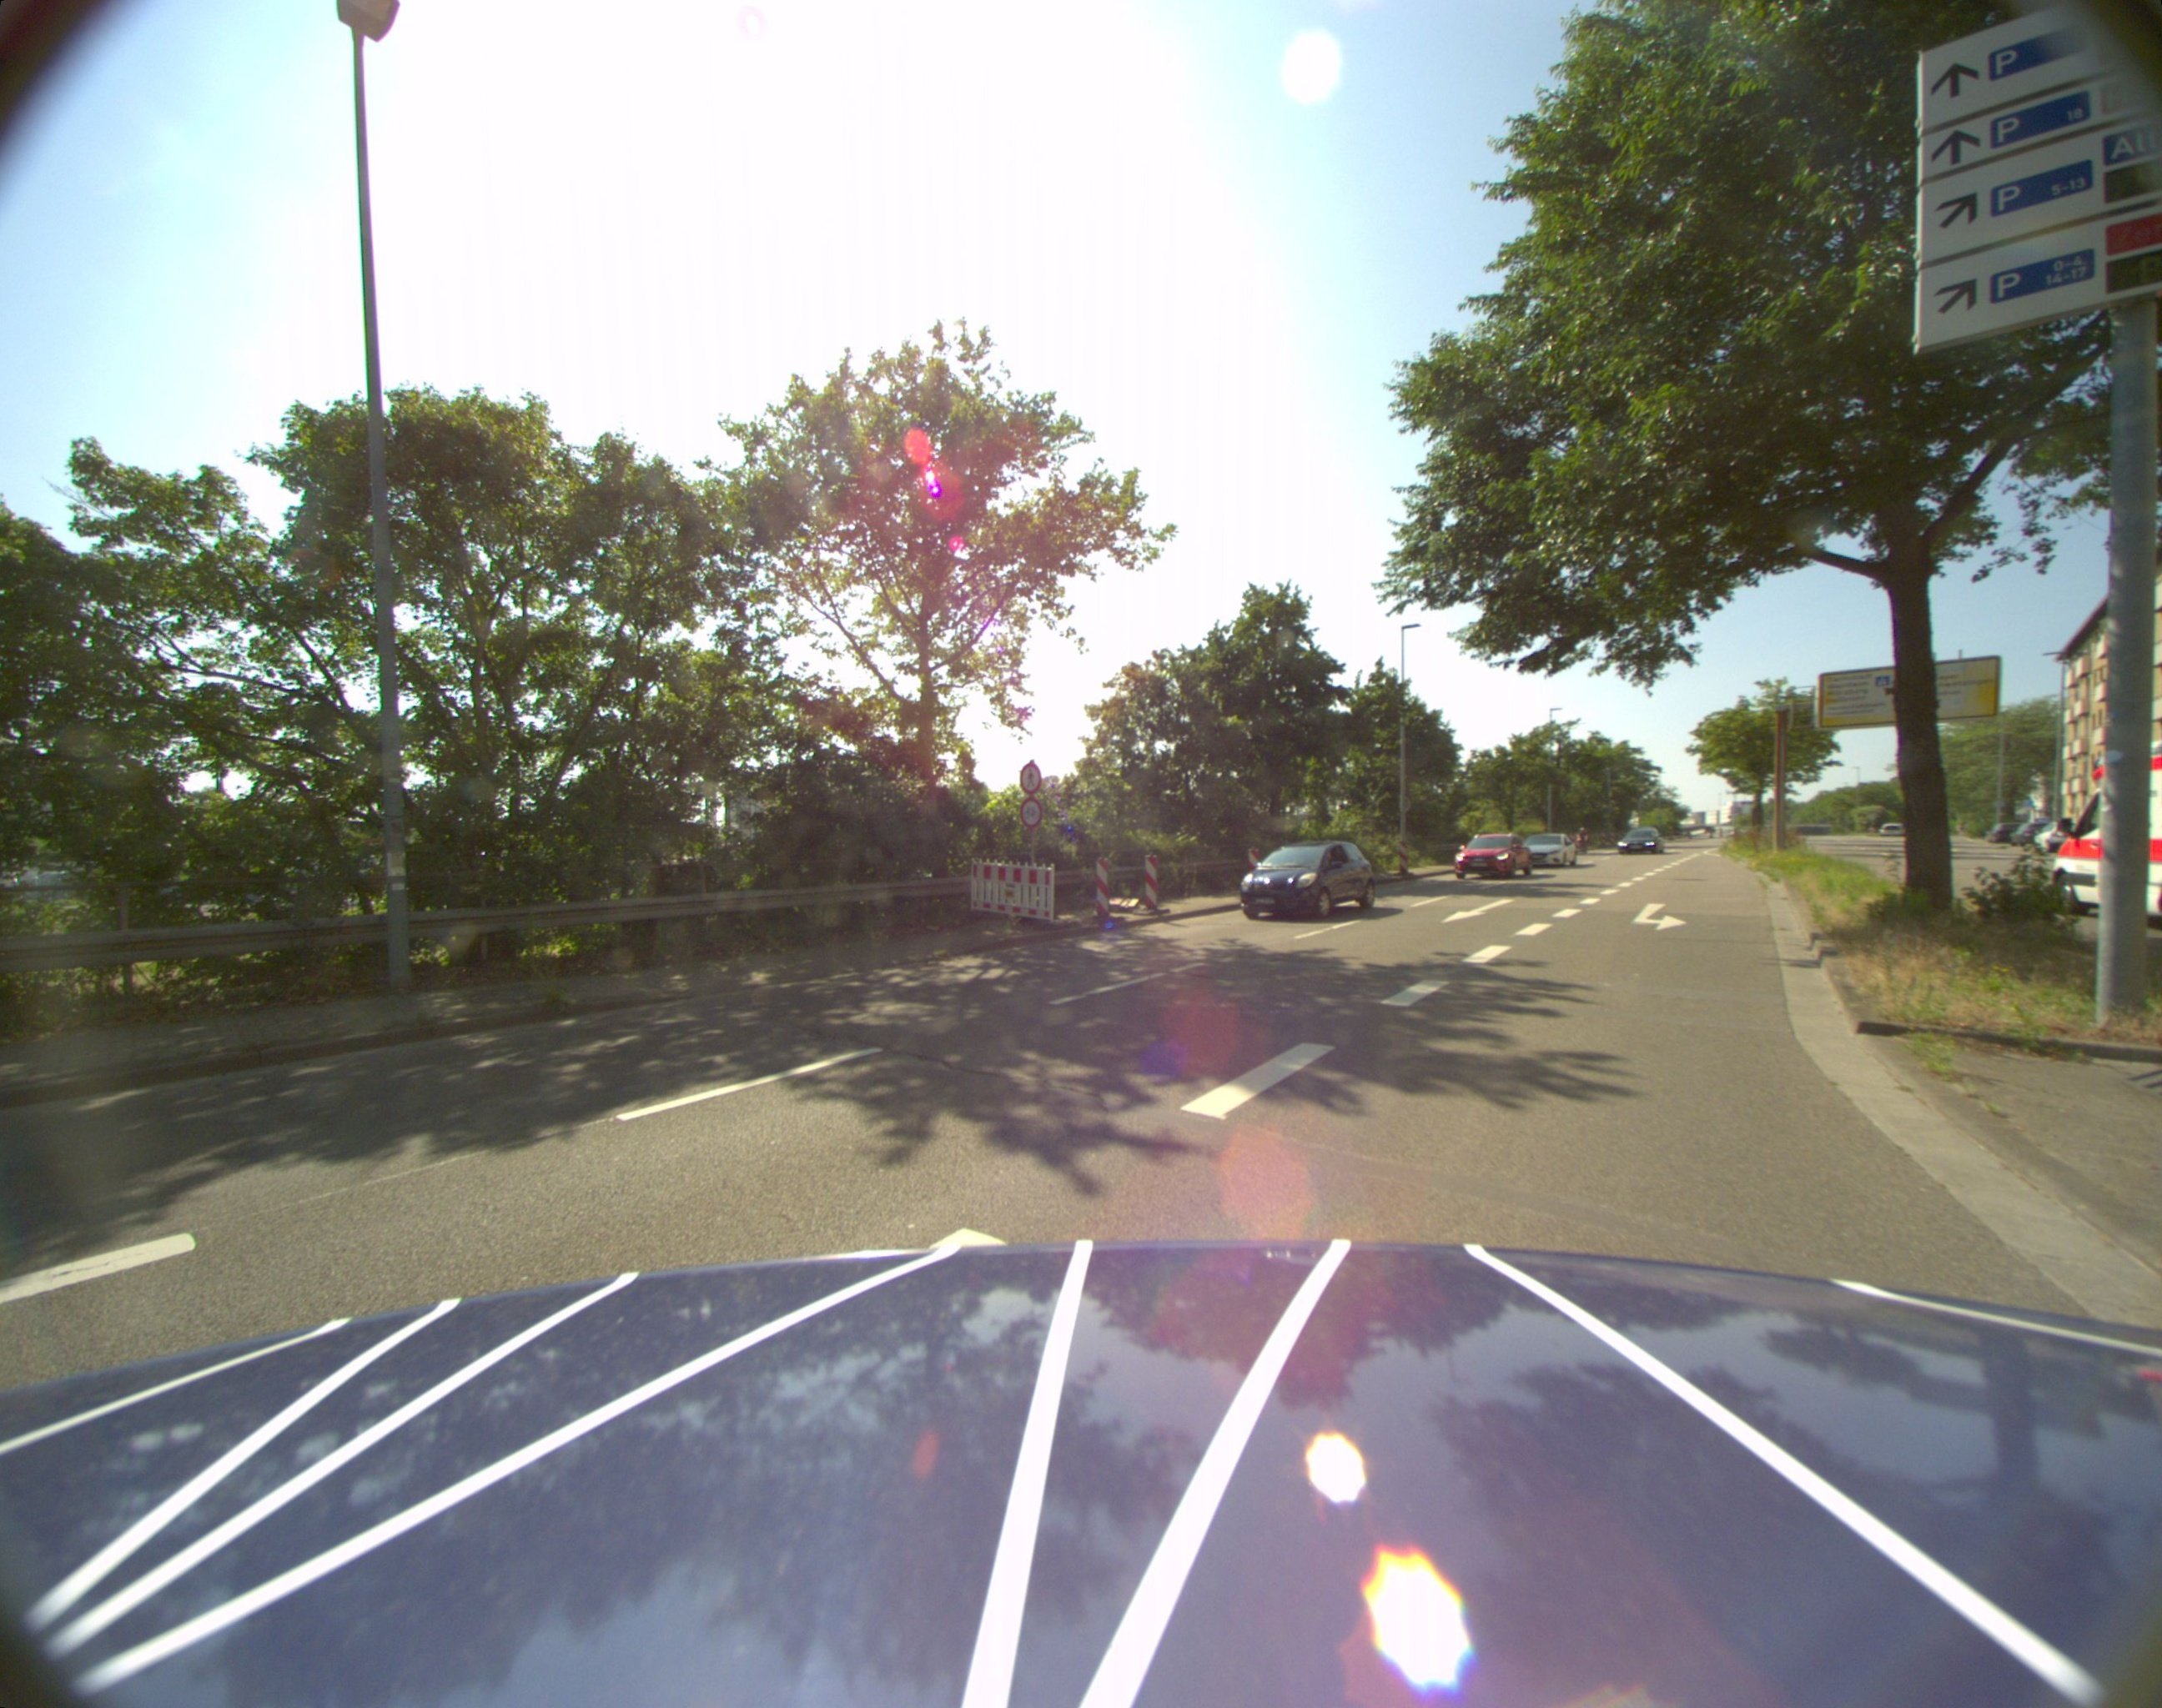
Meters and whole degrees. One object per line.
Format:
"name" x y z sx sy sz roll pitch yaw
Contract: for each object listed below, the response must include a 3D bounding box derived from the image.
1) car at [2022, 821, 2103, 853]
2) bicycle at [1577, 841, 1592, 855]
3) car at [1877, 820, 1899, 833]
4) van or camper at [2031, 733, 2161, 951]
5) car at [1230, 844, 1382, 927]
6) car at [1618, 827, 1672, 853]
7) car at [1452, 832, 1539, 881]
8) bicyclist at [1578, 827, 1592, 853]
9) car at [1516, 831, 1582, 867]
"car" 47.747 -0.870 37.054 1.756 1.498 4.135 3 4 44
"bicycle" 30.659 -0.390 46.266 0.494 0.828 1.810 1 2 42
"car" 95.806 -3.301 90.212 3.468 1.497 1.620 -2 4 -42
"van or camper" 15.564 -0.181 10.104 2.297 2.774 5.581 2 3 38
"car" 4.835 0.583 16.056 1.642 1.492 3.657 -1 1 42
"car" 33.401 -0.833 44.948 1.994 1.404 4.624 -1 1 43
"car" 14.439 0.046 26.364 1.797 1.511 3.972 0 2 42
"bicyclist" 30.697 -0.860 46.299 0.573 1.525 0.780 1 3 42
"car" 20.566 -0.233 33.310 1.865 1.444 4.213 -1 1 40
